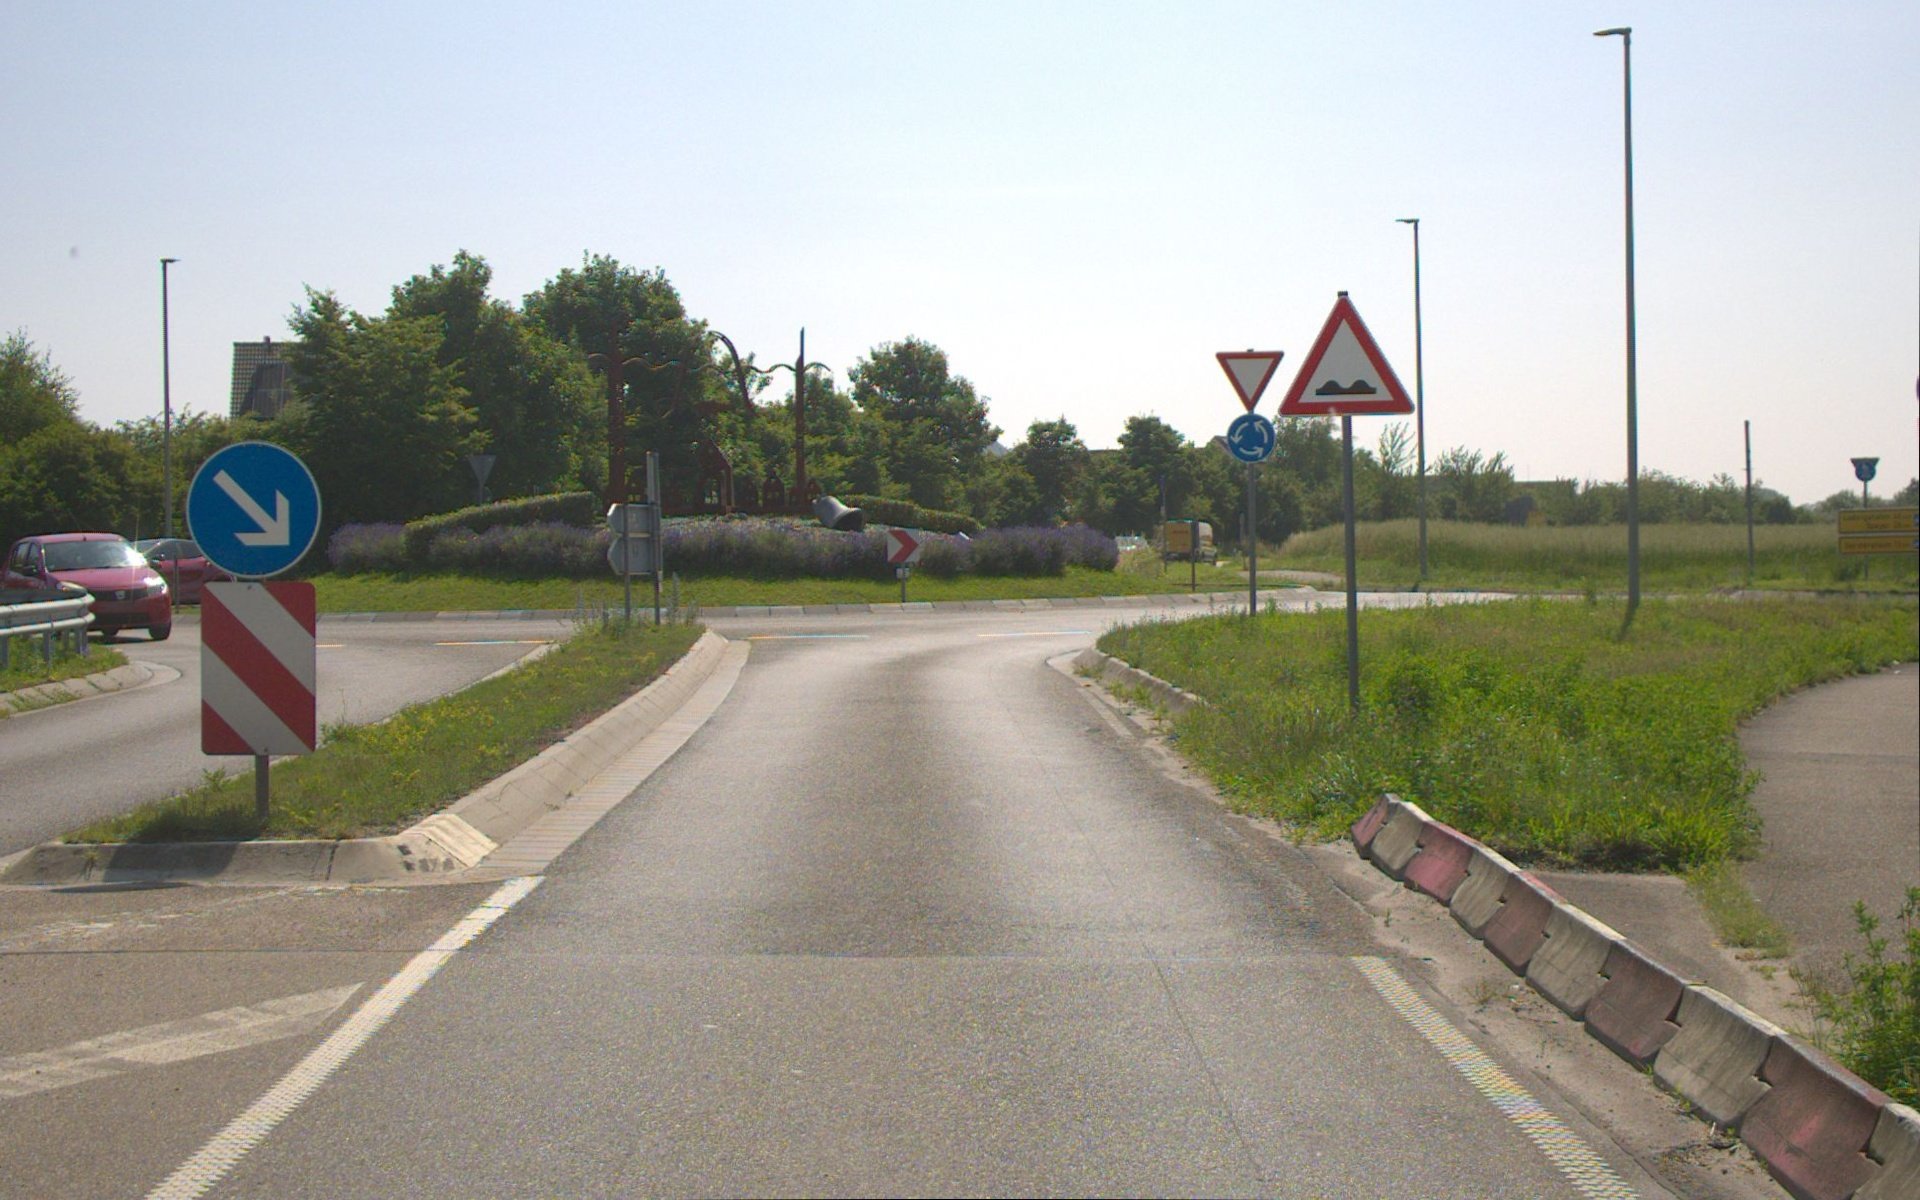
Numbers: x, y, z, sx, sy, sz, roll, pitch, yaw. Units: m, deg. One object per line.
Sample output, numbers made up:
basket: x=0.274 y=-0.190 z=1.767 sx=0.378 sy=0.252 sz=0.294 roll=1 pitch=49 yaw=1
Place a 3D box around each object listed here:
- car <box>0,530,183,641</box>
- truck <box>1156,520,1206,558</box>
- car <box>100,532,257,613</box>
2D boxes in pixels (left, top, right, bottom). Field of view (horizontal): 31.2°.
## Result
car: x=-12.466 y=-0.209 z=48.979 sx=1.627 sy=1.486 sz=3.803 roll=-2 pitch=1 yaw=-30
truck: x=12.052 y=-3.340 z=187.336 sx=1.995 sy=2.007 sz=3.998 roll=0 pitch=1 yaw=14
car: x=-15.966 y=-0.591 z=70.408 sx=1.745 sy=1.517 sz=3.830 roll=-1 pitch=2 yaw=10
